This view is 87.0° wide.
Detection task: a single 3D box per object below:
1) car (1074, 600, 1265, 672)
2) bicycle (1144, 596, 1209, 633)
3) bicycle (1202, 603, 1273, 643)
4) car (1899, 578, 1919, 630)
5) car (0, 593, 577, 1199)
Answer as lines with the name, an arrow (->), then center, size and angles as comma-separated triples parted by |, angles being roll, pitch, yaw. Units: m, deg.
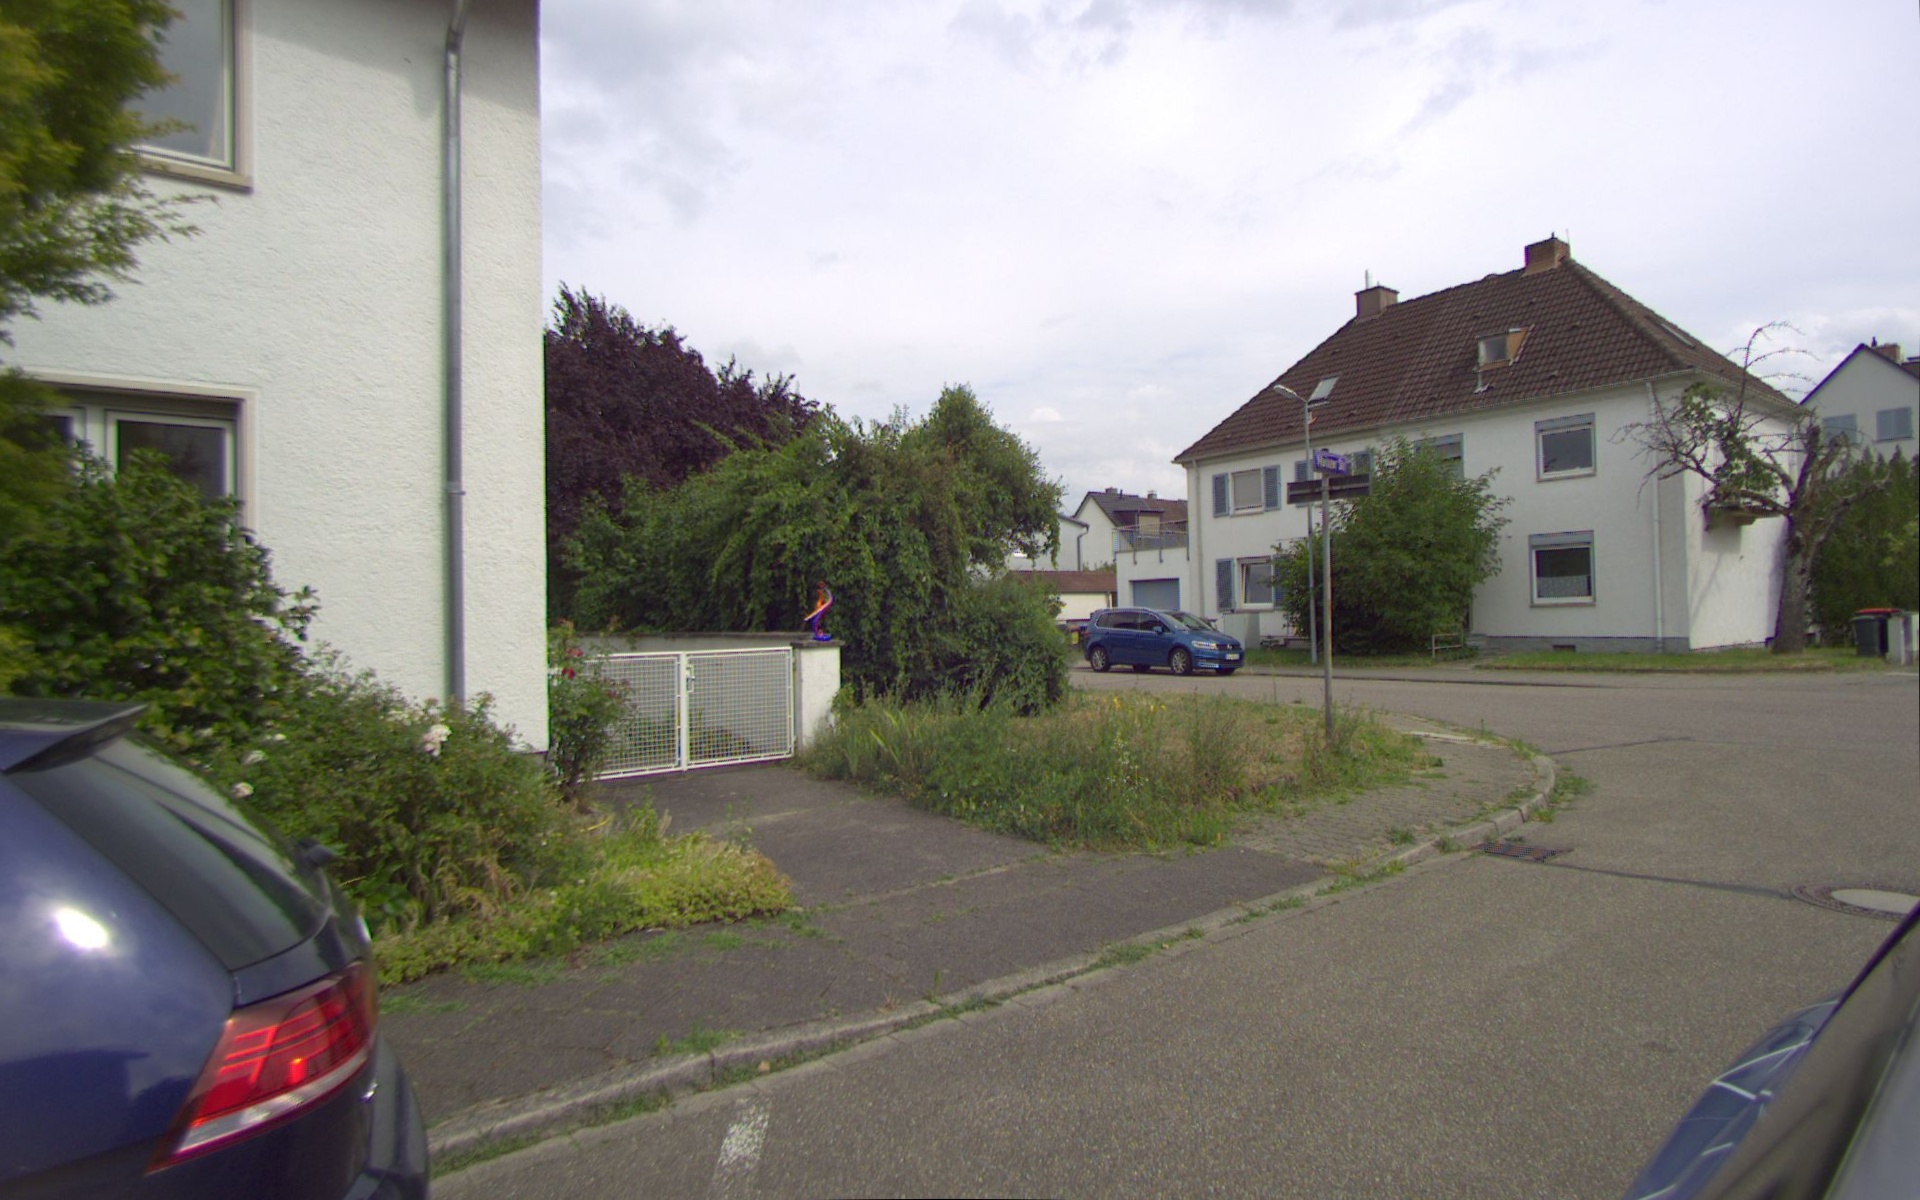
car -> 5.096, 0.861, 25.261 | 1.962, 1.590, 4.545 | -1, -1, -35
bicycle -> 6.903, 0.478, 32.353 | 0.562, 1.149, 2.170 | -1, -1, -36
bicycle -> 8.332, 0.687, 30.470 | 0.562, 1.149, 2.170 | -1, -1, -36
car -> 34.029, 0.085, 33.473 | 1.962, 1.728, 3.998 | -1, -1, -35
car -> -2.980, 0.776, 0.720 | 4.760, 1.458, 1.872 | -1, -1, -36
